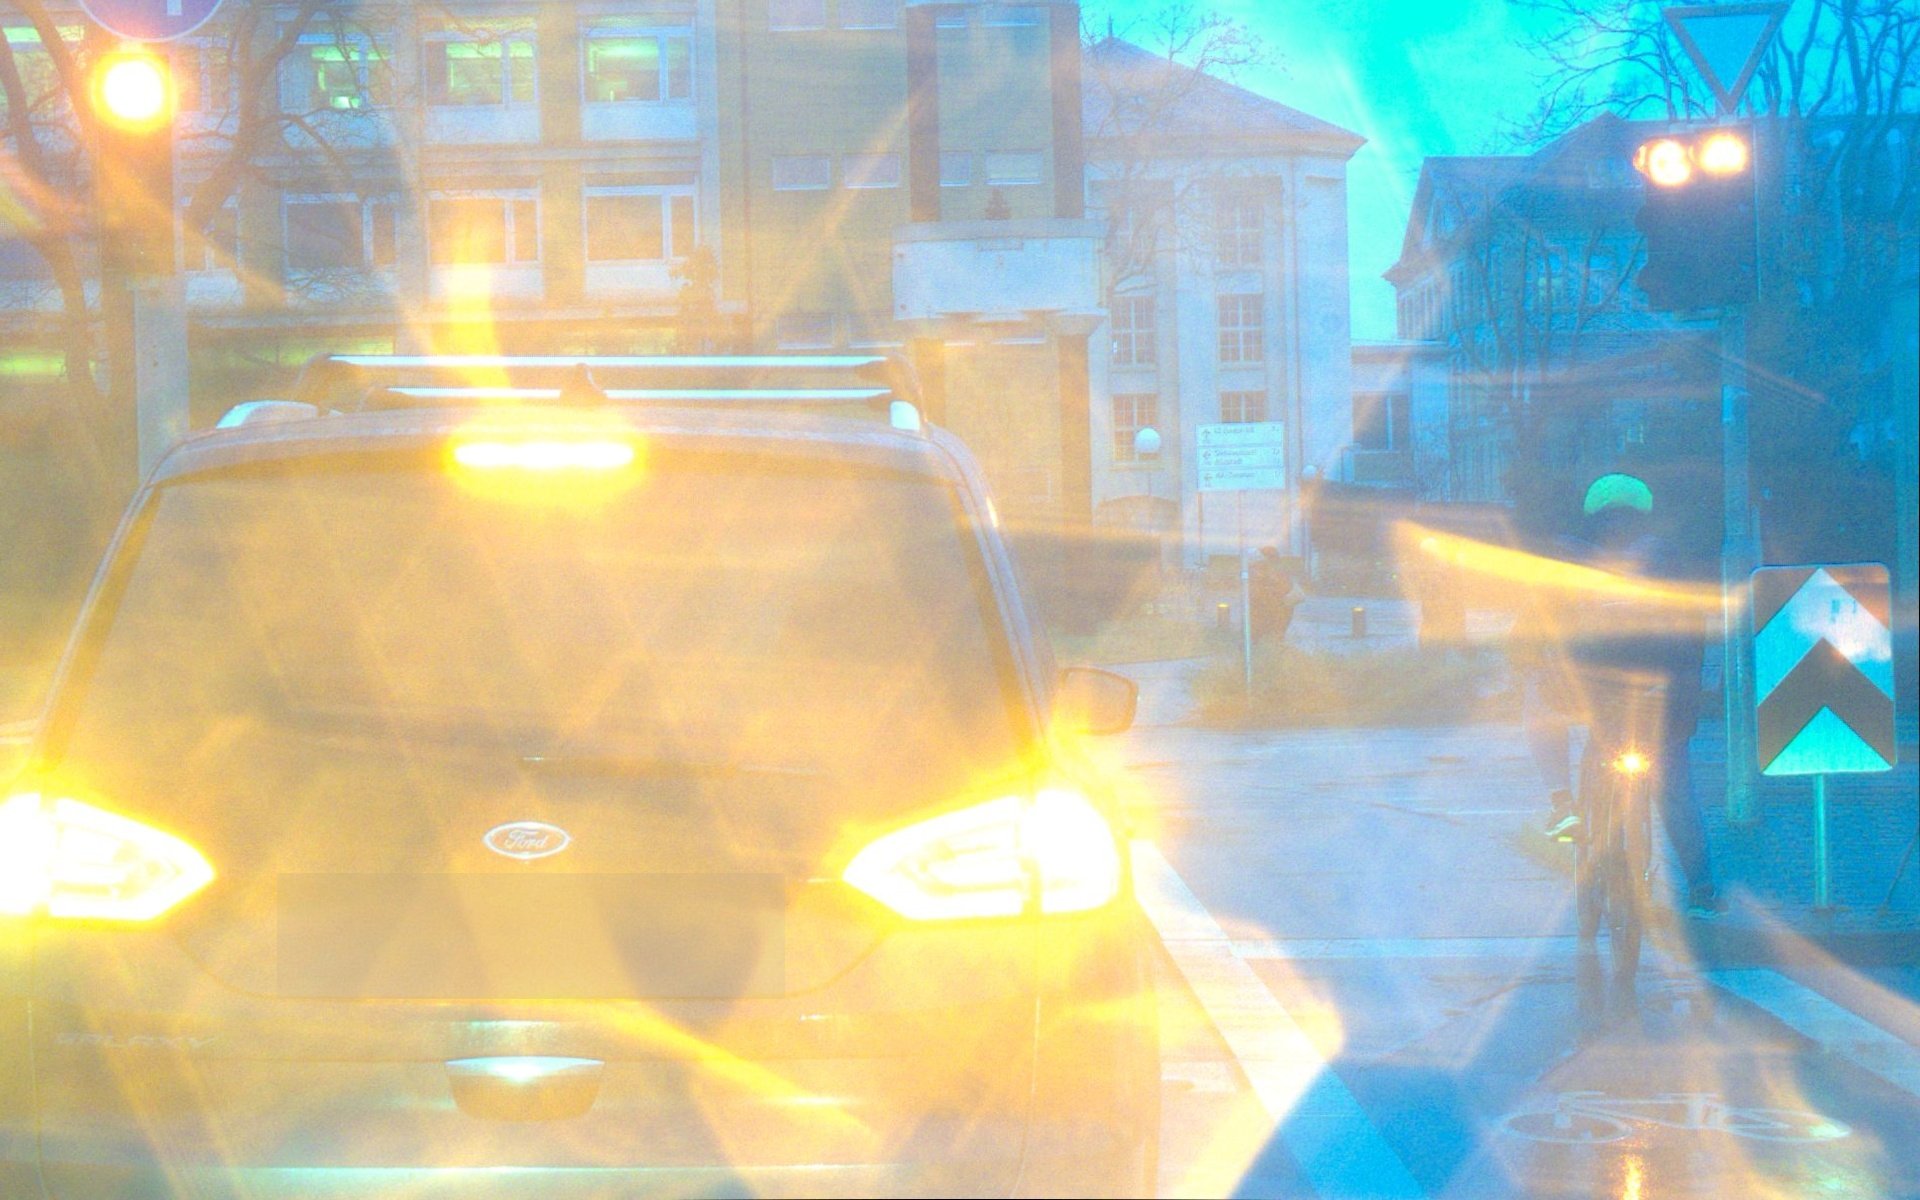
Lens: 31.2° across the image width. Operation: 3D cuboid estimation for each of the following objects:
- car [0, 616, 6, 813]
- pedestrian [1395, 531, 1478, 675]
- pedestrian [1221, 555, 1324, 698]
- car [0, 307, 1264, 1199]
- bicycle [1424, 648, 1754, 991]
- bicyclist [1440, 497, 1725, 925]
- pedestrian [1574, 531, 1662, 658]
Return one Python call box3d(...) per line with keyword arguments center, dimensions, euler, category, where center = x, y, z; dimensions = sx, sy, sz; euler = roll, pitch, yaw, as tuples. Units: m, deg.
box3d(center=(-9.623, 0.927, 25.495), dimensions=(4.580, 1.472, 1.810), euler=(-2, 0, 14), category="car")
box3d(center=(6.149, 0.031, 44.304), dimensions=(0.997, 1.793, 0.919), euler=(-2, 1, 9), category="pedestrian")
box3d(center=(3.927, 0.326, 43.139), dimensions=(1.136, 1.714, 0.981), euler=(-2, 1, 10), category="pedestrian")
box3d(center=(-0.628, 0.492, 6.563), dimensions=(1.993, 1.783, 4.000), euler=(1, 1, -1), category="car")
box3d(center=(2.197, 0.735, 12.265), dimensions=(0.783, 1.071, 1.957), euler=(1, 1, -1), category="bicycle")
box3d(center=(2.199, 0.373, 12.279), dimensions=(0.783, 1.448, 1.134), euler=(1, 0, -1), category="bicyclist")
box3d(center=(8.189, -0.074, 42.814), dimensions=(0.924, 1.527, 1.043), euler=(-2, 1, 4), category="pedestrian")
